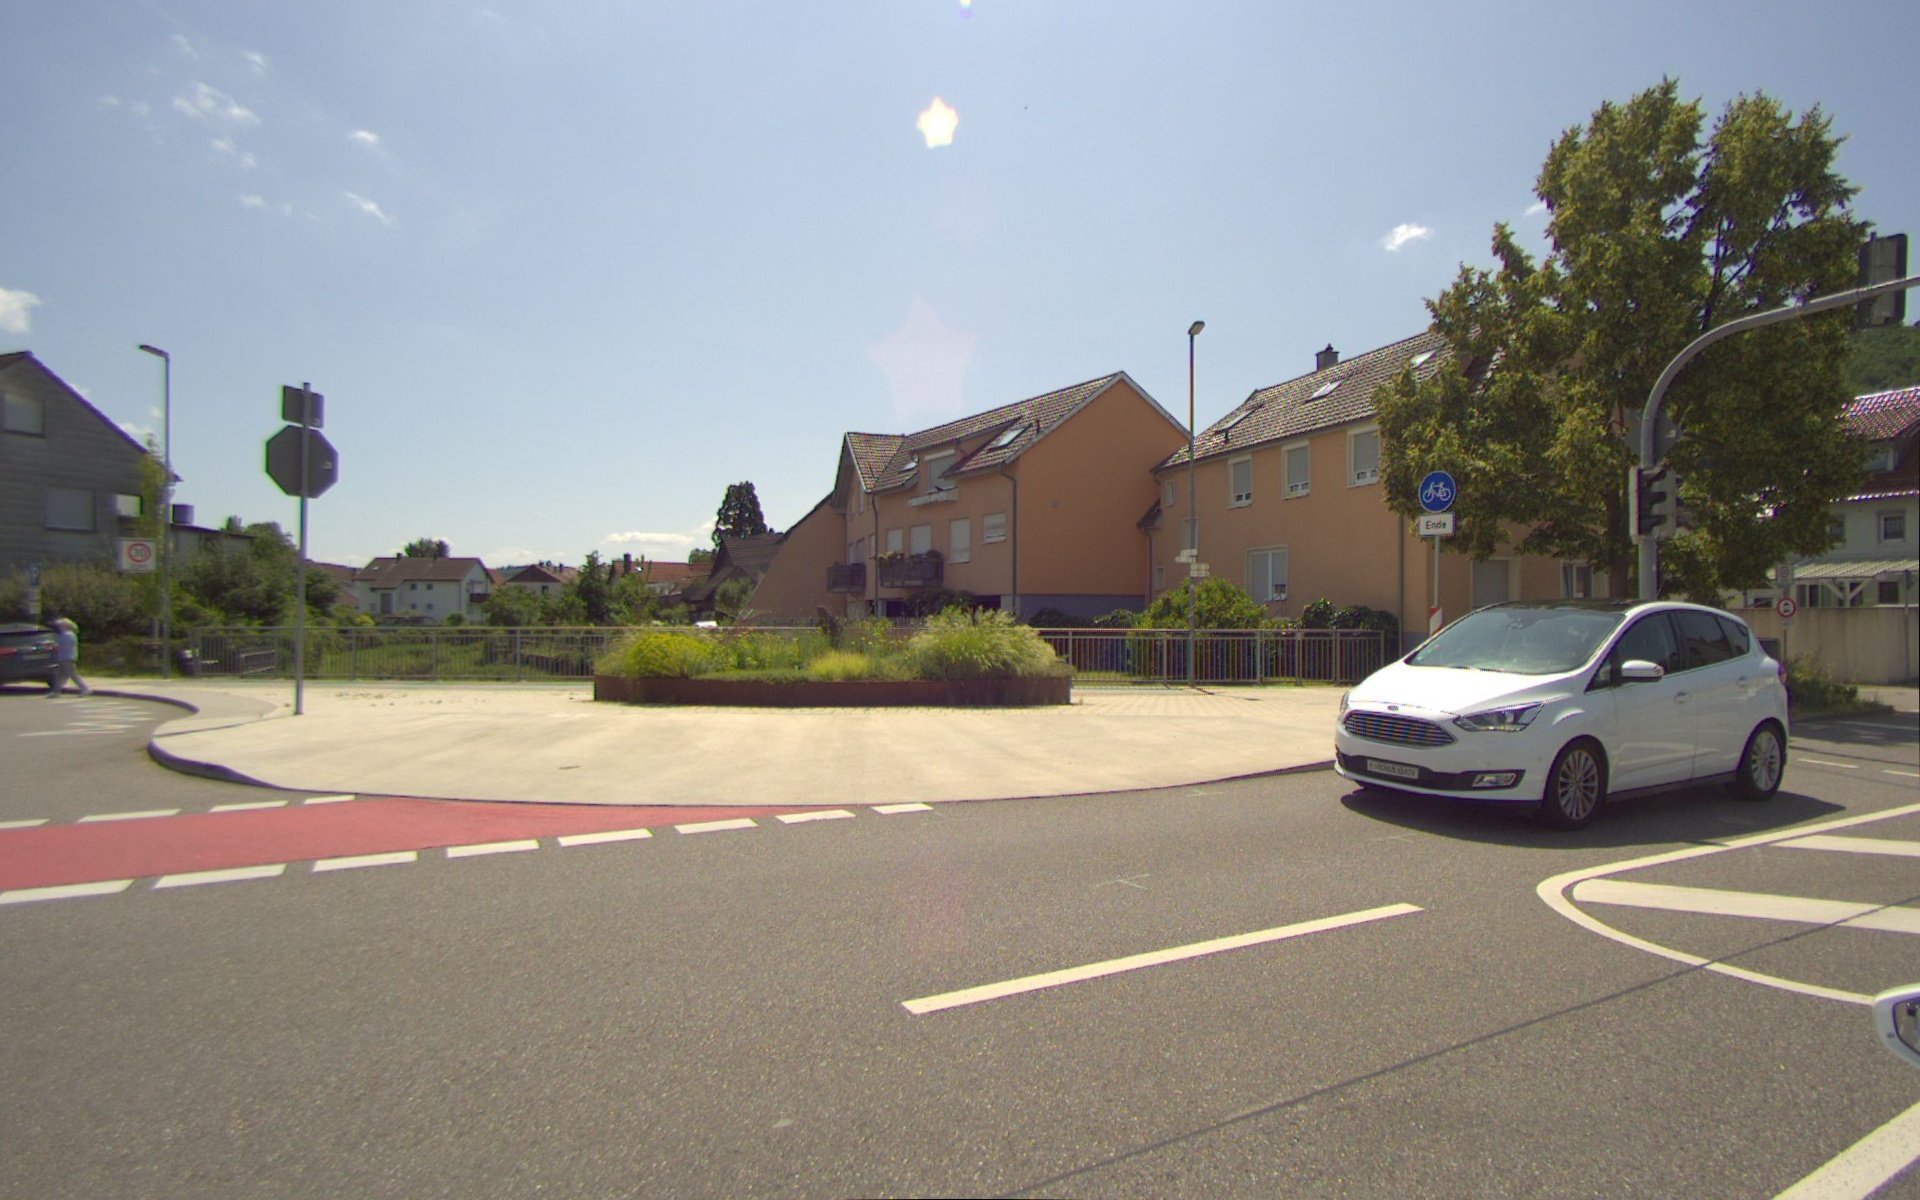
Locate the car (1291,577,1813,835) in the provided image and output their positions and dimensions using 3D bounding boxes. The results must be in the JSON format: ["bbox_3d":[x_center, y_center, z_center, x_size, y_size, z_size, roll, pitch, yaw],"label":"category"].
[{"bbox_3d":[4.853,0.727,8.205,3.948,1.671,1.809,2,0,-26],"label":"car"}]

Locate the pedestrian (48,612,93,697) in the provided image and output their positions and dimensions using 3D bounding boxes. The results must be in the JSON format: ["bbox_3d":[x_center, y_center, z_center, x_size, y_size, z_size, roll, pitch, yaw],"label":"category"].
[{"bbox_3d":[-18.923,1.154,21.378,0.603,1.772,0.506,0,-1,25],"label":"pedestrian"}]

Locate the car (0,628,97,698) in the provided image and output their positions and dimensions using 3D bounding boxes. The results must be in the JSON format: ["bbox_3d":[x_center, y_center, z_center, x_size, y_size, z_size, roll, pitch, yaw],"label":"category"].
[{"bbox_3d":[-22.096,1.386,23.024,3.922,1.483,1.861,-1,-1,21],"label":"car"}]
